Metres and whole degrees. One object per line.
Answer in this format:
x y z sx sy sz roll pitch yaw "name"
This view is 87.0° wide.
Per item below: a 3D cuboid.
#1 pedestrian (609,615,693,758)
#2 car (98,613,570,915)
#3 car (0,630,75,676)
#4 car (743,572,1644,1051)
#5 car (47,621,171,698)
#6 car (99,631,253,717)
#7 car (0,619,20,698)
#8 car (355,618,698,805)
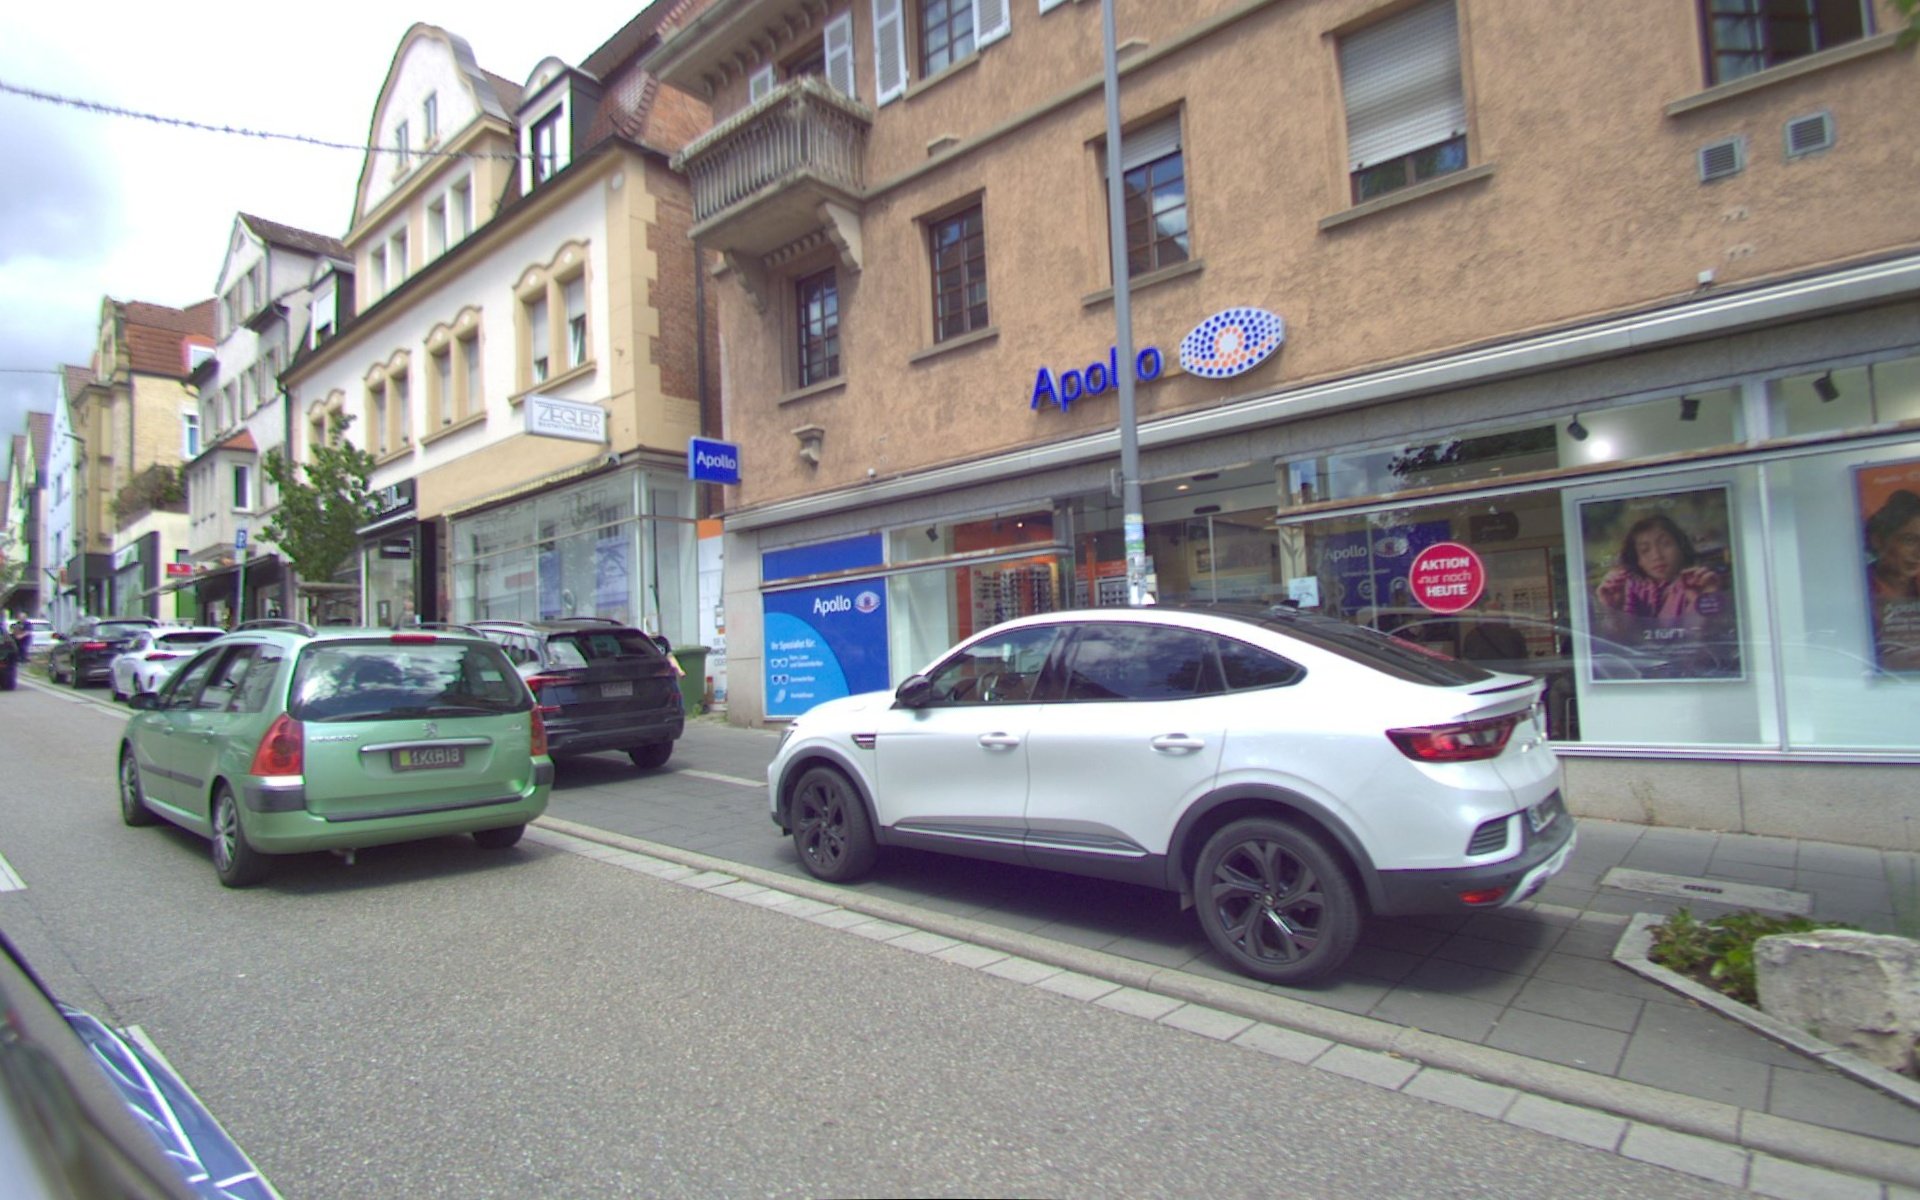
-3.631 0.986 11.899 0.650 1.585 0.621 -2 1 41 "pedestrian"
-4.561 0.885 7.101 4.152 1.512 1.664 -1 -3 41 "car"
-32.954 1.849 36.070 3.528 1.536 1.668 -1 -2 42 "car"
0.911 0.745 5.458 4.451 1.585 1.708 -1 -1 40 "car"
-20.428 1.343 24.243 3.991 1.692 1.709 -1 -2 42 "car"
-14.989 1.339 19.302 3.502 1.442 1.709 -1 -2 42 "car"
-22.721 1.276 22.800 3.857 1.702 1.807 -1 -3 41 "car"
-4.608 0.991 10.501 3.960 1.537 1.647 -1 0 40 "car"
